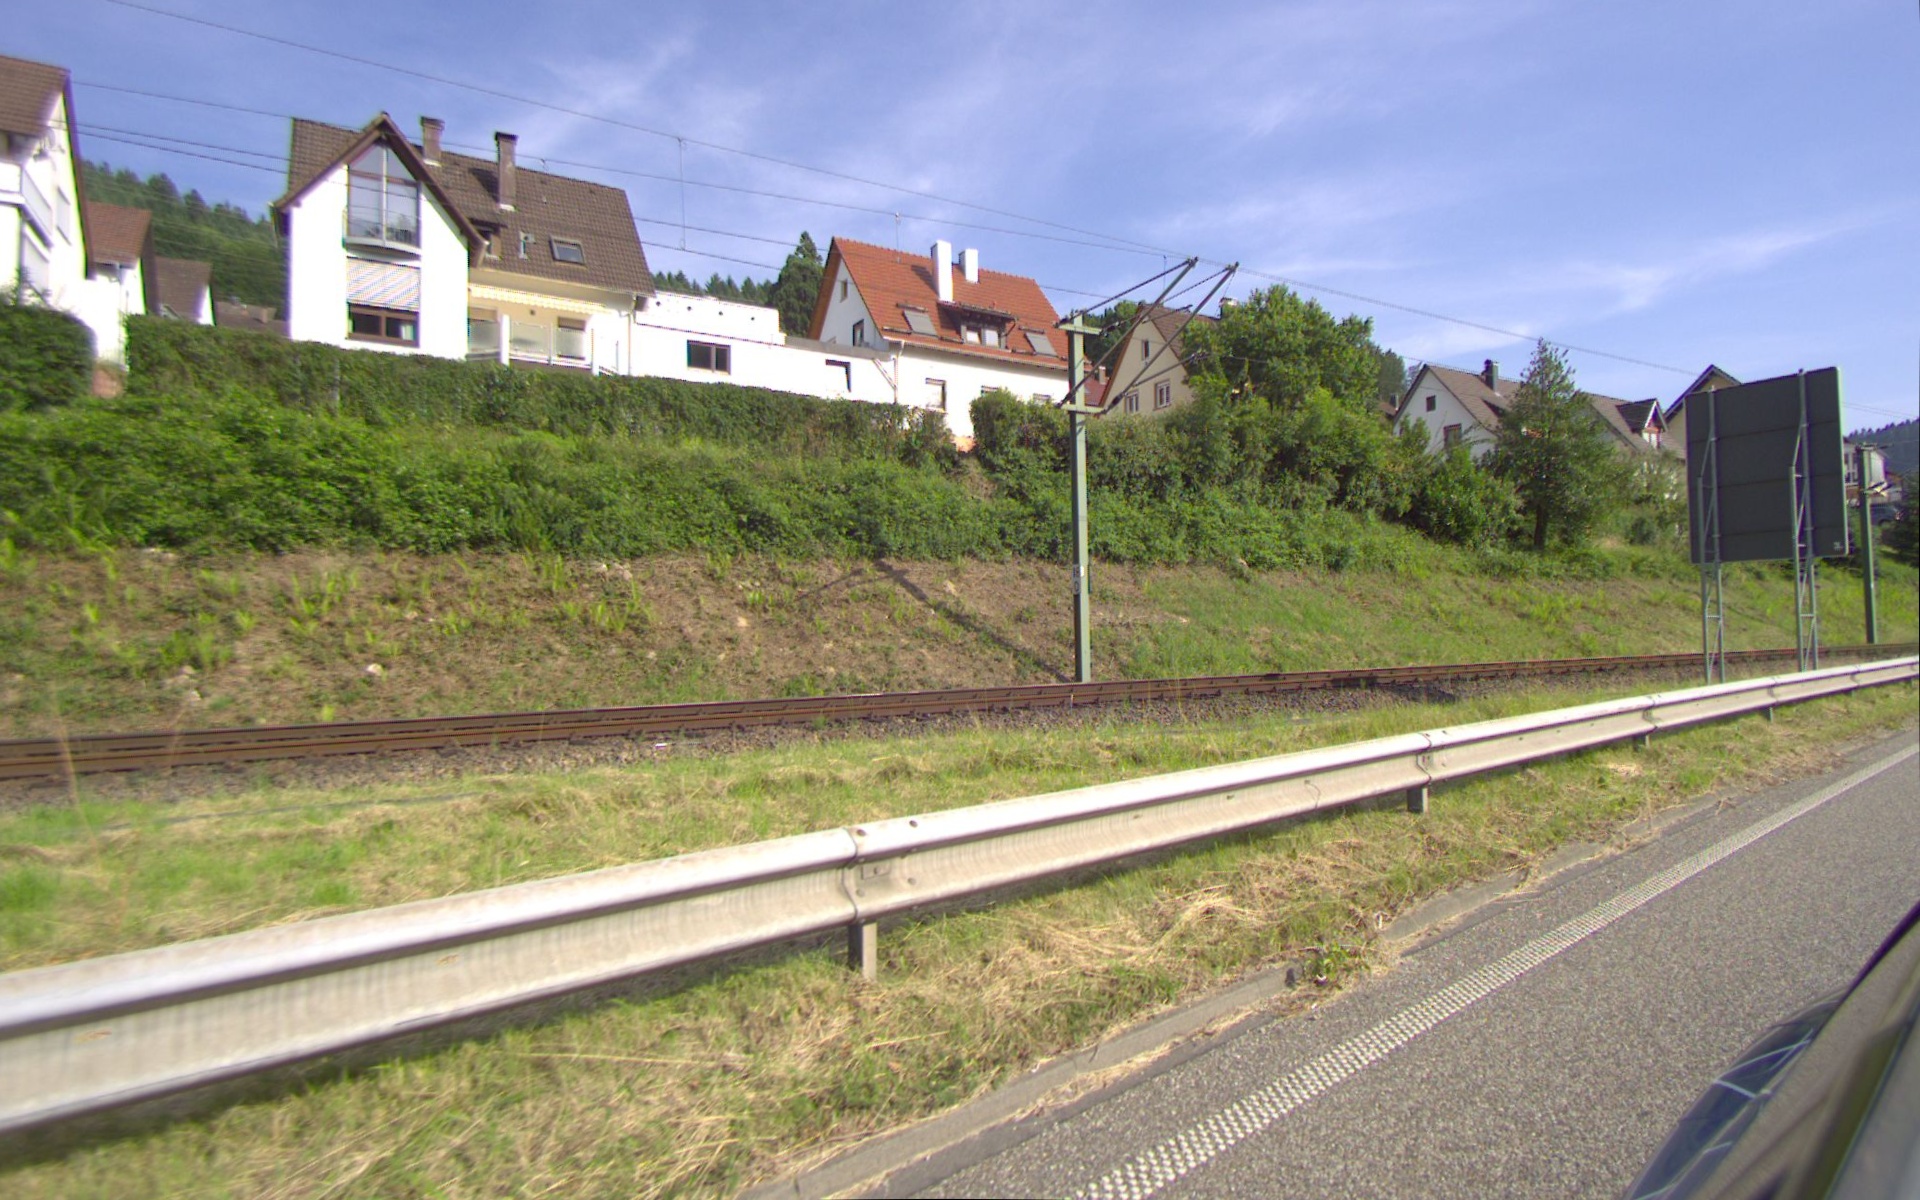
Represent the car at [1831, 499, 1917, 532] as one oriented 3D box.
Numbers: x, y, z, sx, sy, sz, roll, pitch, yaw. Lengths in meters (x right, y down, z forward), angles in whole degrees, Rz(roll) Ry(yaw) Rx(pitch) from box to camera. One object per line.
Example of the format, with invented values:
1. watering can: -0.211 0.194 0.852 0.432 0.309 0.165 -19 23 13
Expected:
1. car: 58.880 -5.418 65.265 1.720 1.560 3.750 -1 -3 -35
